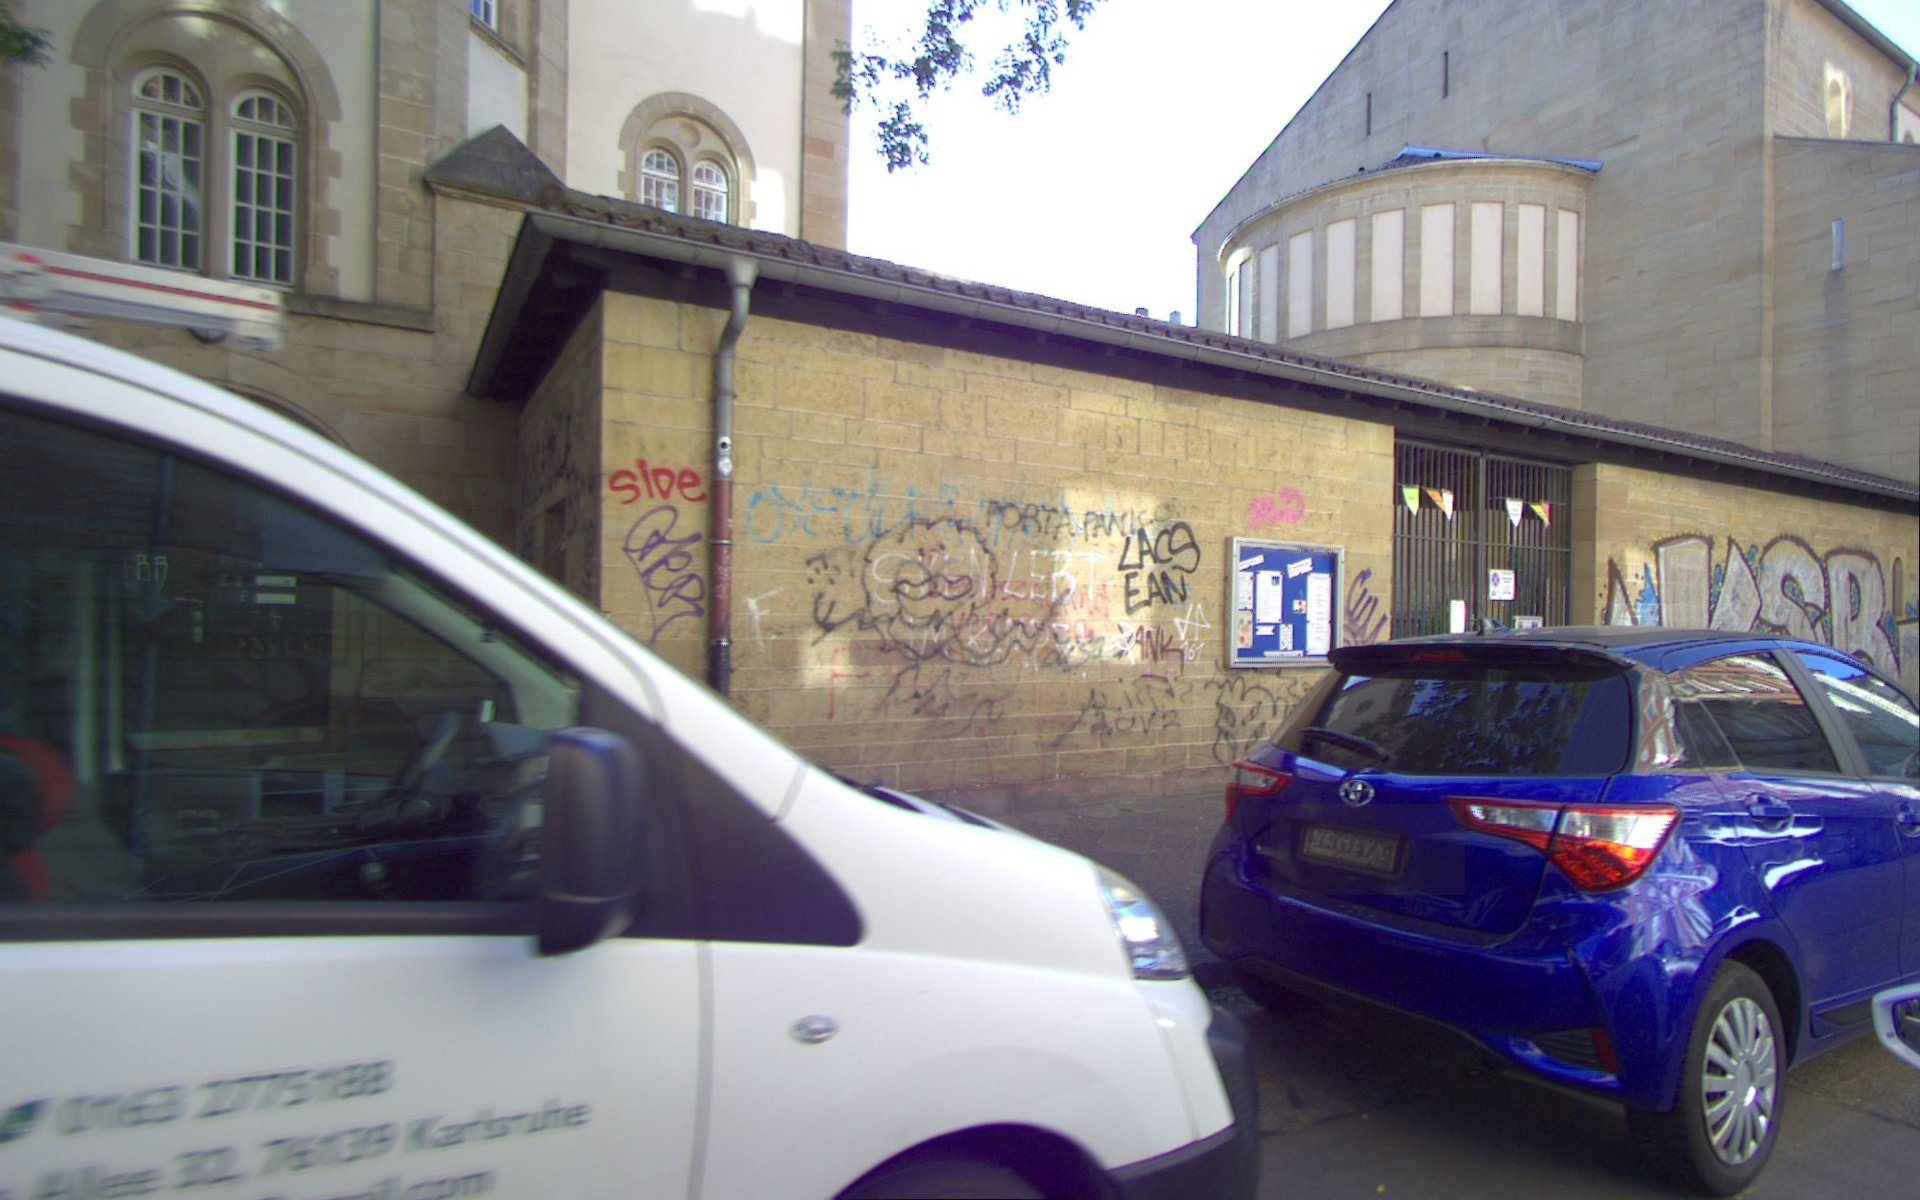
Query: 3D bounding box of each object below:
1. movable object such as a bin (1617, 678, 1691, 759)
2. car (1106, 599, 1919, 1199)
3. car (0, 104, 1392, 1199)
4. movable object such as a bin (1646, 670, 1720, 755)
[{"bbox_3d":[7.512,1.270,10.869,0.583,0.818,0.451,1,-1,-30],"label":"movable object such as a bin"},{"bbox_3d":[2.599,0.824,3.940,3.815,1.496,1.680,1,-3,-30],"label":"car"},{"bbox_3d":[-1.546,0.486,1.630,4.410,1.887,1.838,1,-1,-29],"label":"car"},{"bbox_3d":[8.096,1.243,11.255,0.564,0.887,0.479,1,-1,-30],"label":"movable object such as a bin"}]
